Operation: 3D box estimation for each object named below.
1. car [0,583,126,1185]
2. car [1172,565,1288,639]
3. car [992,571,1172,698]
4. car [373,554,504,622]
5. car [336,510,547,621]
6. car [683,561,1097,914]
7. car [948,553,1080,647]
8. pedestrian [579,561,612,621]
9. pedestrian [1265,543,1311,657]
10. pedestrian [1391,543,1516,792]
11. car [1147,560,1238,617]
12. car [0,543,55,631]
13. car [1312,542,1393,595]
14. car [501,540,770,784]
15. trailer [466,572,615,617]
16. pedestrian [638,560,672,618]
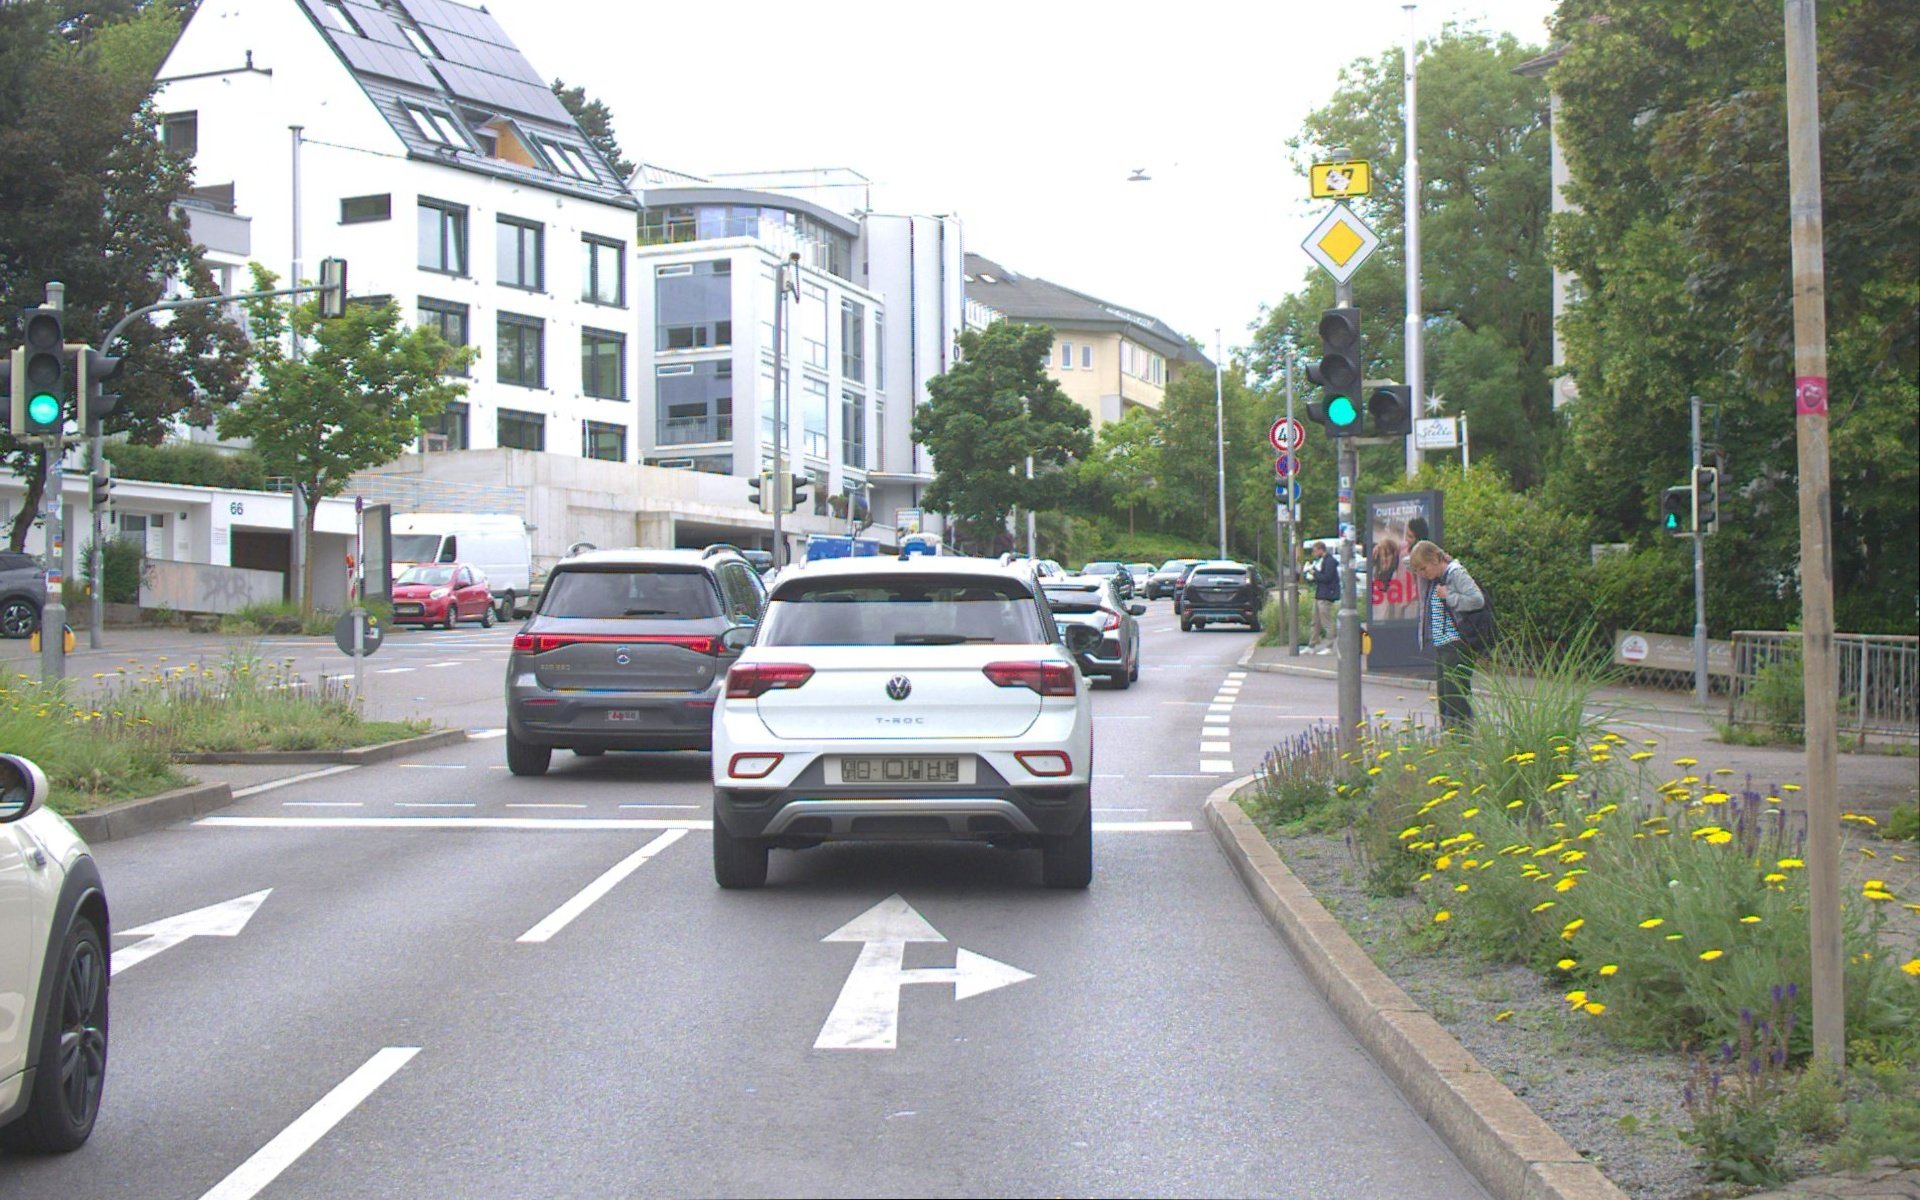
[{"bbox_3d":[-3.046,0.683,7.503,1.628,1.388,3.566,-1,1,-1],"label":"car"},{"bbox_3d":[6.044,0.038,76.559,1.874,1.496,4.552,3,1,12],"label":"car"},{"bbox_3d":[1.666,0.419,45.319,1.874,1.496,4.554,3,1,7],"label":"car"},{"bbox_3d":[-11.499,-0.284,76.005,1.622,1.460,3.925,0,1,11],"label":"car"},{"bbox_3d":[-12.417,-0.839,82.952,2.233,2.559,7.417,0,1,15],"label":"car"},{"bbox_3d":[-0.381,0.587,17.086,1.811,1.534,3.690,-1,1,-2],"label":"car"},{"bbox_3d":[1.038,-0.036,63.390,1.858,1.646,4.635,-1,1,8],"label":"car"},{"bbox_3d":[-10.062,-0.249,94.872,0.626,1.634,0.671,2,1,22],"label":"pedestrian"},{"bbox_3d":[5.306,-0.005,55.651,0.693,1.827,0.620,1,0,7],"label":"pedestrian"},{"bbox_3d":[3.398,0.459,23.653,0.694,1.683,0.619,-1,-1,21],"label":"pedestrian"},{"bbox_3d":[6.407,-0.326,94.402,1.859,1.495,4.053,-1,1,13],"label":"car"},{"bbox_3d":[-18.114,-0.223,60.616,4.118,1.534,1.599,0,1,-17],"label":"car"},{"bbox_3d":[11.646,-0.943,101.868,1.859,1.495,4.053,-1,1,14],"label":"car"},{"bbox_3d":[-2.426,0.399,25.972,1.812,1.646,4.637,-1,1,-5],"label":"car"},{"bbox_3d":[-10.795,-0.150,88.750,2.248,1.108,4.619,0,1,15],"label":"trailer"},{"bbox_3d":[-8.638,-0.312,97.345,0.674,1.634,0.672,1,1,-33],"label":"pedestrian"}]
